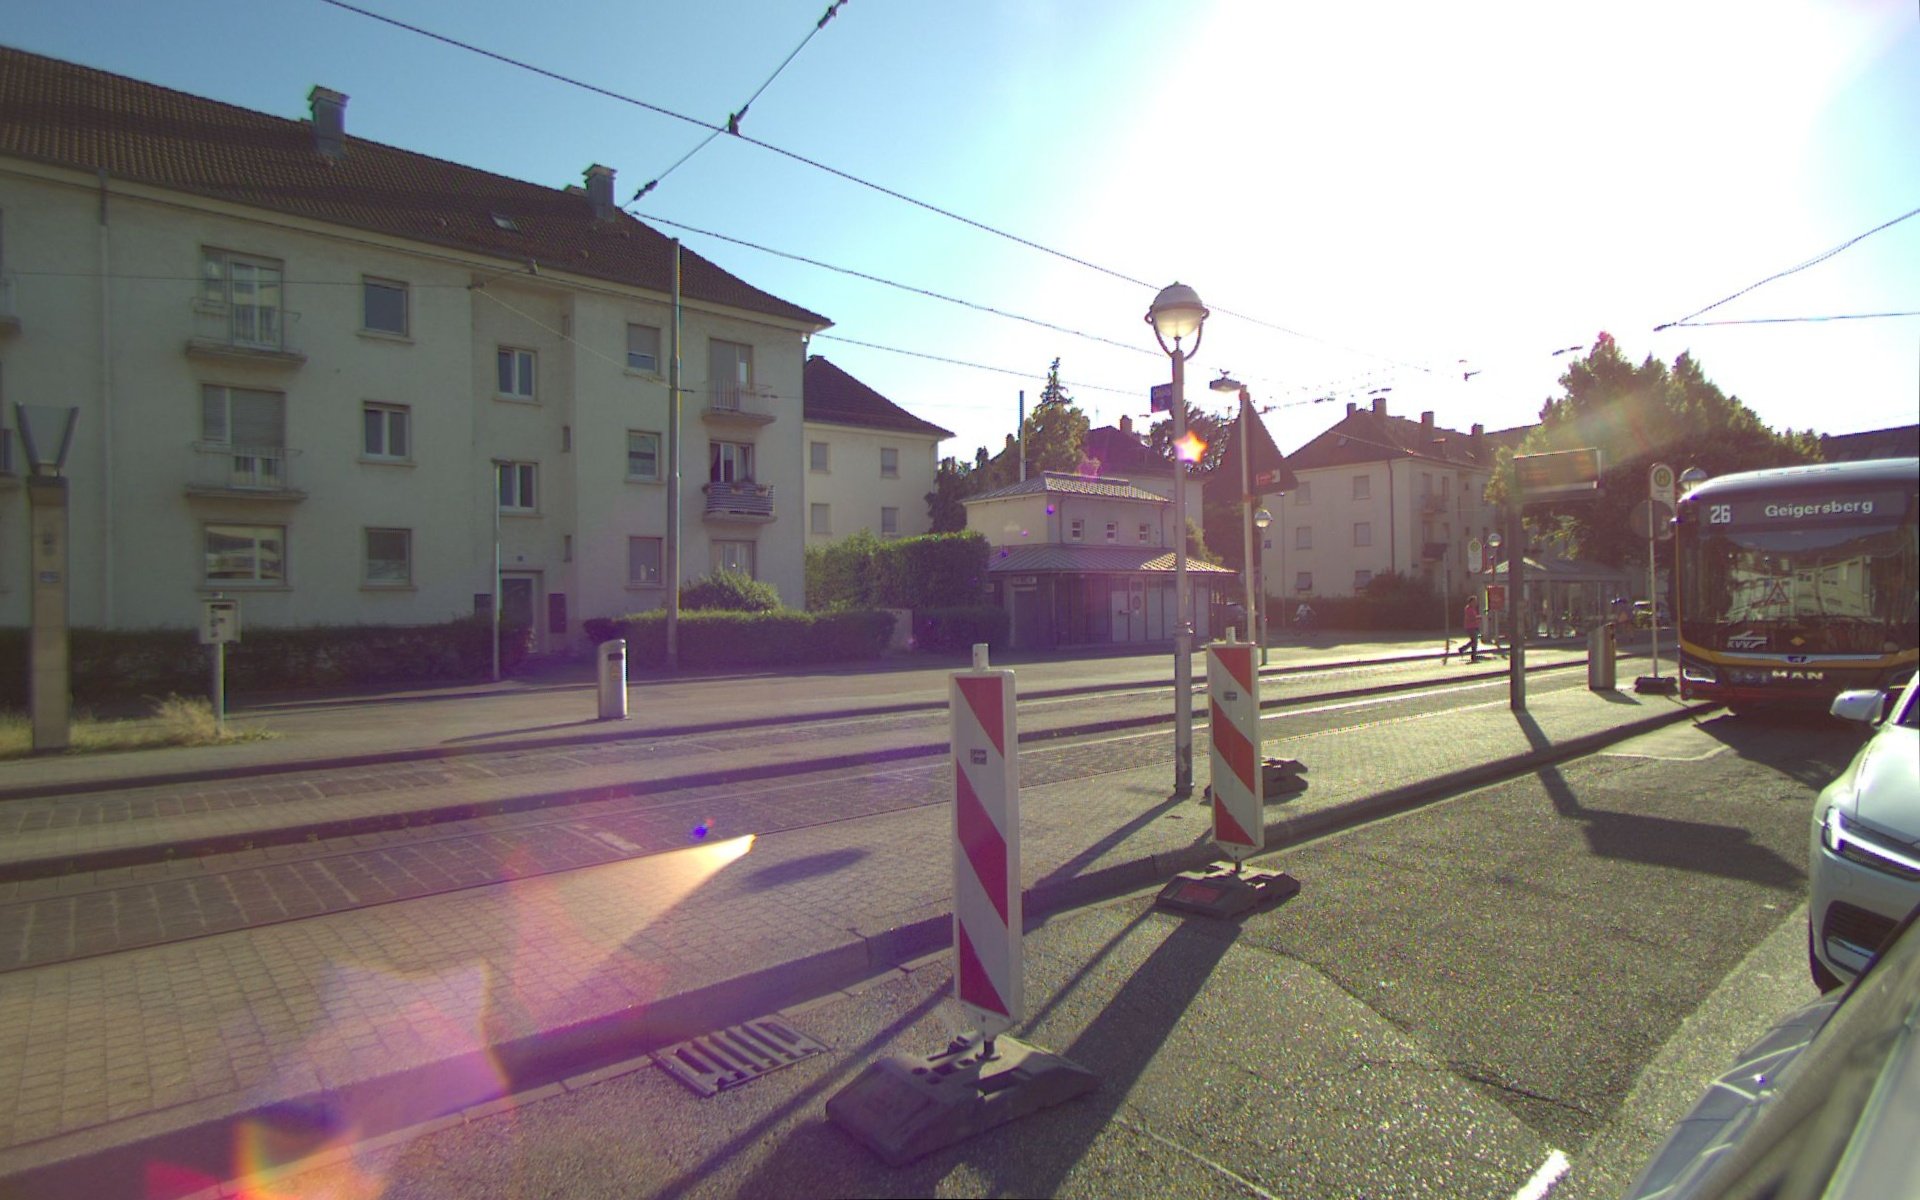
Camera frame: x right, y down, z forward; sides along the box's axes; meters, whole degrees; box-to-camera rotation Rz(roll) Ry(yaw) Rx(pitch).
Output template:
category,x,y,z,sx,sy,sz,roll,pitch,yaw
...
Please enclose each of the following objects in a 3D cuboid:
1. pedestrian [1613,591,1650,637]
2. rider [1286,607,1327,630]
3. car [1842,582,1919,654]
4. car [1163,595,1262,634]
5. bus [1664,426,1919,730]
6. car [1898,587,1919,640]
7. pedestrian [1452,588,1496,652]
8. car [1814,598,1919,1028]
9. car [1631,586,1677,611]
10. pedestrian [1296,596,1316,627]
category,x,y,z,sx,sy,sz,roll,pitch,yaw
pedestrian,24.218,0.485,36.521,0.811,1.631,0.841,0,0,7
rider,15.769,0.821,46.088,0.569,1.004,1.860,0,0,-29
car,21.224,0.361,22.367,4.740,1.477,1.968,0,0,-41
car,11.584,0.681,46.671,1.964,1.694,4.050,-1,-1,-39
bus,14.316,-0.262,15.849,11.824,3.345,2.745,0,0,-42
car,28.784,0.371,29.233,4.740,1.477,1.968,0,0,-41
pedestrian,14.183,0.533,27.910,0.811,1.740,0.841,0,0,-41
car,5.272,0.733,4.361,4.143,1.472,1.819,0,0,-41
car,53.778,-0.109,78.438,3.930,1.887,1.997,-1,0,-41
pedestrian,15.766,0.523,46.078,0.569,1.398,0.659,0,0,-29
